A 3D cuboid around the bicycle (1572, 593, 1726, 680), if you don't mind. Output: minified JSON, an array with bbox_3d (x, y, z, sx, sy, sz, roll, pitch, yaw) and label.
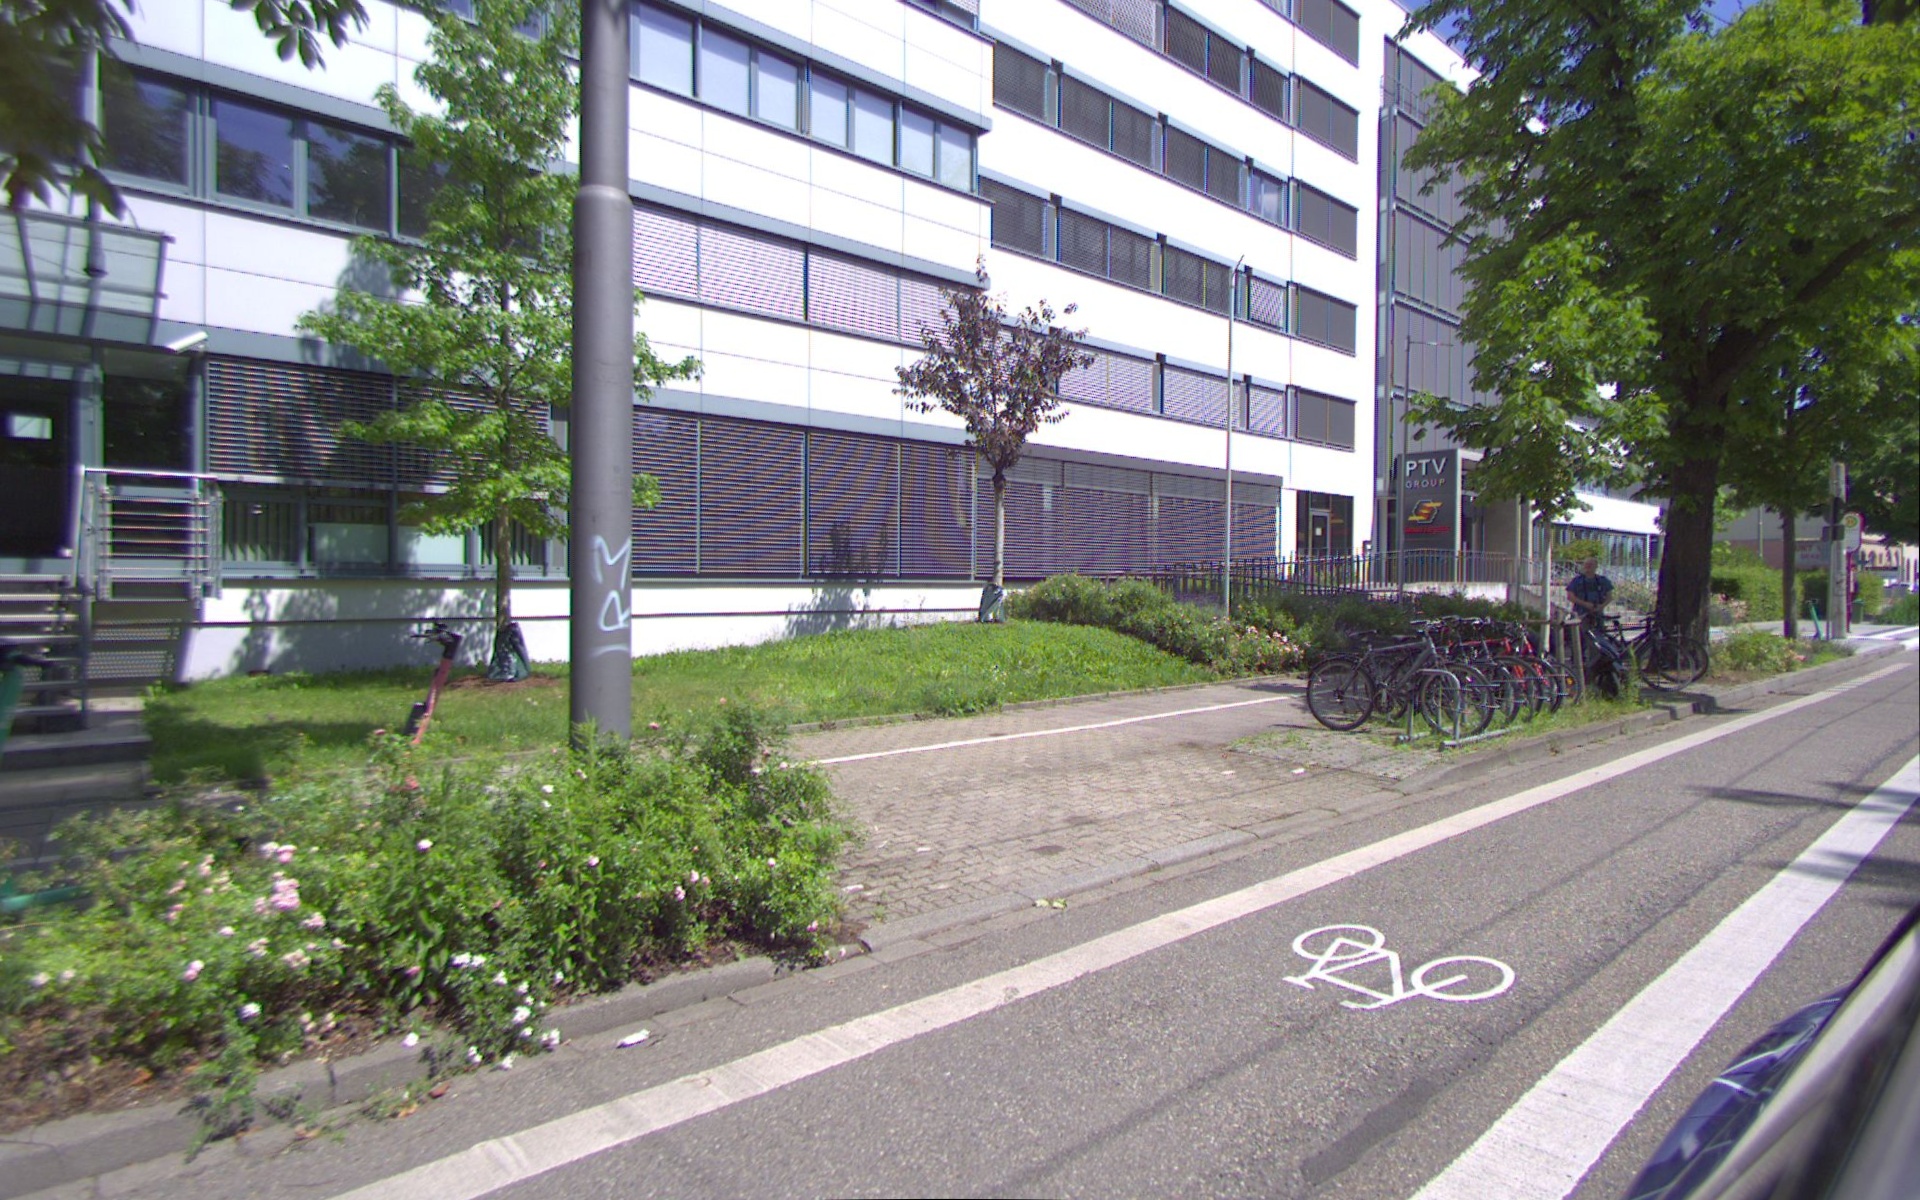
[{"bbox_3d":[10.259,0.508,15.104,1.813,1.179,0.700,1,1,43],"label":"bicycle"}]

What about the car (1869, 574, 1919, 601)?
[{"bbox_3d":[64.232,-0.833,67.539,1.967,1.764,5.204,-1,0,-43],"label":"car"}]

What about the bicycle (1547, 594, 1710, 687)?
[{"bbox_3d":[9.349,0.531,14.192,1.813,1.179,0.700,1,1,43],"label":"bicycle"}]

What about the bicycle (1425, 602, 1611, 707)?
[{"bbox_3d":[6.483,0.599,11.828,0.560,1.125,1.809,-1,0,-43],"label":"bicycle"}]

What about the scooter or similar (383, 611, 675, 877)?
[{"bbox_3d":[-2.315,0.699,5.510,1.361,1.223,0.540,-1,3,-41],"label":"scooter or similar"}]

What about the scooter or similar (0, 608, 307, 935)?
[{"bbox_3d":[-3.644,0.674,4.338,1.361,1.223,0.540,-1,3,-41],"label":"scooter or similar"}]

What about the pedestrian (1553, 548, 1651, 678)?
[{"bbox_3d":[9.428,0.179,14.892,0.967,1.855,0.787,0,0,7],"label":"pedestrian"}]

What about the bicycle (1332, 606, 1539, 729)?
[{"bbox_3d":[4.752,0.630,10.218,0.560,1.125,1.809,-1,0,-43],"label":"bicycle"}]

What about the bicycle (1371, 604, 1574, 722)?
[{"bbox_3d":[5.301,0.613,10.561,0.560,1.125,1.809,-1,0,-43],"label":"bicycle"}]

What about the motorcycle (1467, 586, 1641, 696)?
[{"bbox_3d":[7.603,0.482,13.006,1.813,1.292,0.710,1,1,43],"label":"motorcycle"}]

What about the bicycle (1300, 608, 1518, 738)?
[{"bbox_3d":[4.282,0.648,9.767,0.560,1.125,1.842,-1,0,-43],"label":"bicycle"}]

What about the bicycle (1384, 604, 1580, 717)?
[{"bbox_3d":[5.647,0.612,11.032,0.560,1.125,1.809,-1,0,-43],"label":"bicycle"}]
